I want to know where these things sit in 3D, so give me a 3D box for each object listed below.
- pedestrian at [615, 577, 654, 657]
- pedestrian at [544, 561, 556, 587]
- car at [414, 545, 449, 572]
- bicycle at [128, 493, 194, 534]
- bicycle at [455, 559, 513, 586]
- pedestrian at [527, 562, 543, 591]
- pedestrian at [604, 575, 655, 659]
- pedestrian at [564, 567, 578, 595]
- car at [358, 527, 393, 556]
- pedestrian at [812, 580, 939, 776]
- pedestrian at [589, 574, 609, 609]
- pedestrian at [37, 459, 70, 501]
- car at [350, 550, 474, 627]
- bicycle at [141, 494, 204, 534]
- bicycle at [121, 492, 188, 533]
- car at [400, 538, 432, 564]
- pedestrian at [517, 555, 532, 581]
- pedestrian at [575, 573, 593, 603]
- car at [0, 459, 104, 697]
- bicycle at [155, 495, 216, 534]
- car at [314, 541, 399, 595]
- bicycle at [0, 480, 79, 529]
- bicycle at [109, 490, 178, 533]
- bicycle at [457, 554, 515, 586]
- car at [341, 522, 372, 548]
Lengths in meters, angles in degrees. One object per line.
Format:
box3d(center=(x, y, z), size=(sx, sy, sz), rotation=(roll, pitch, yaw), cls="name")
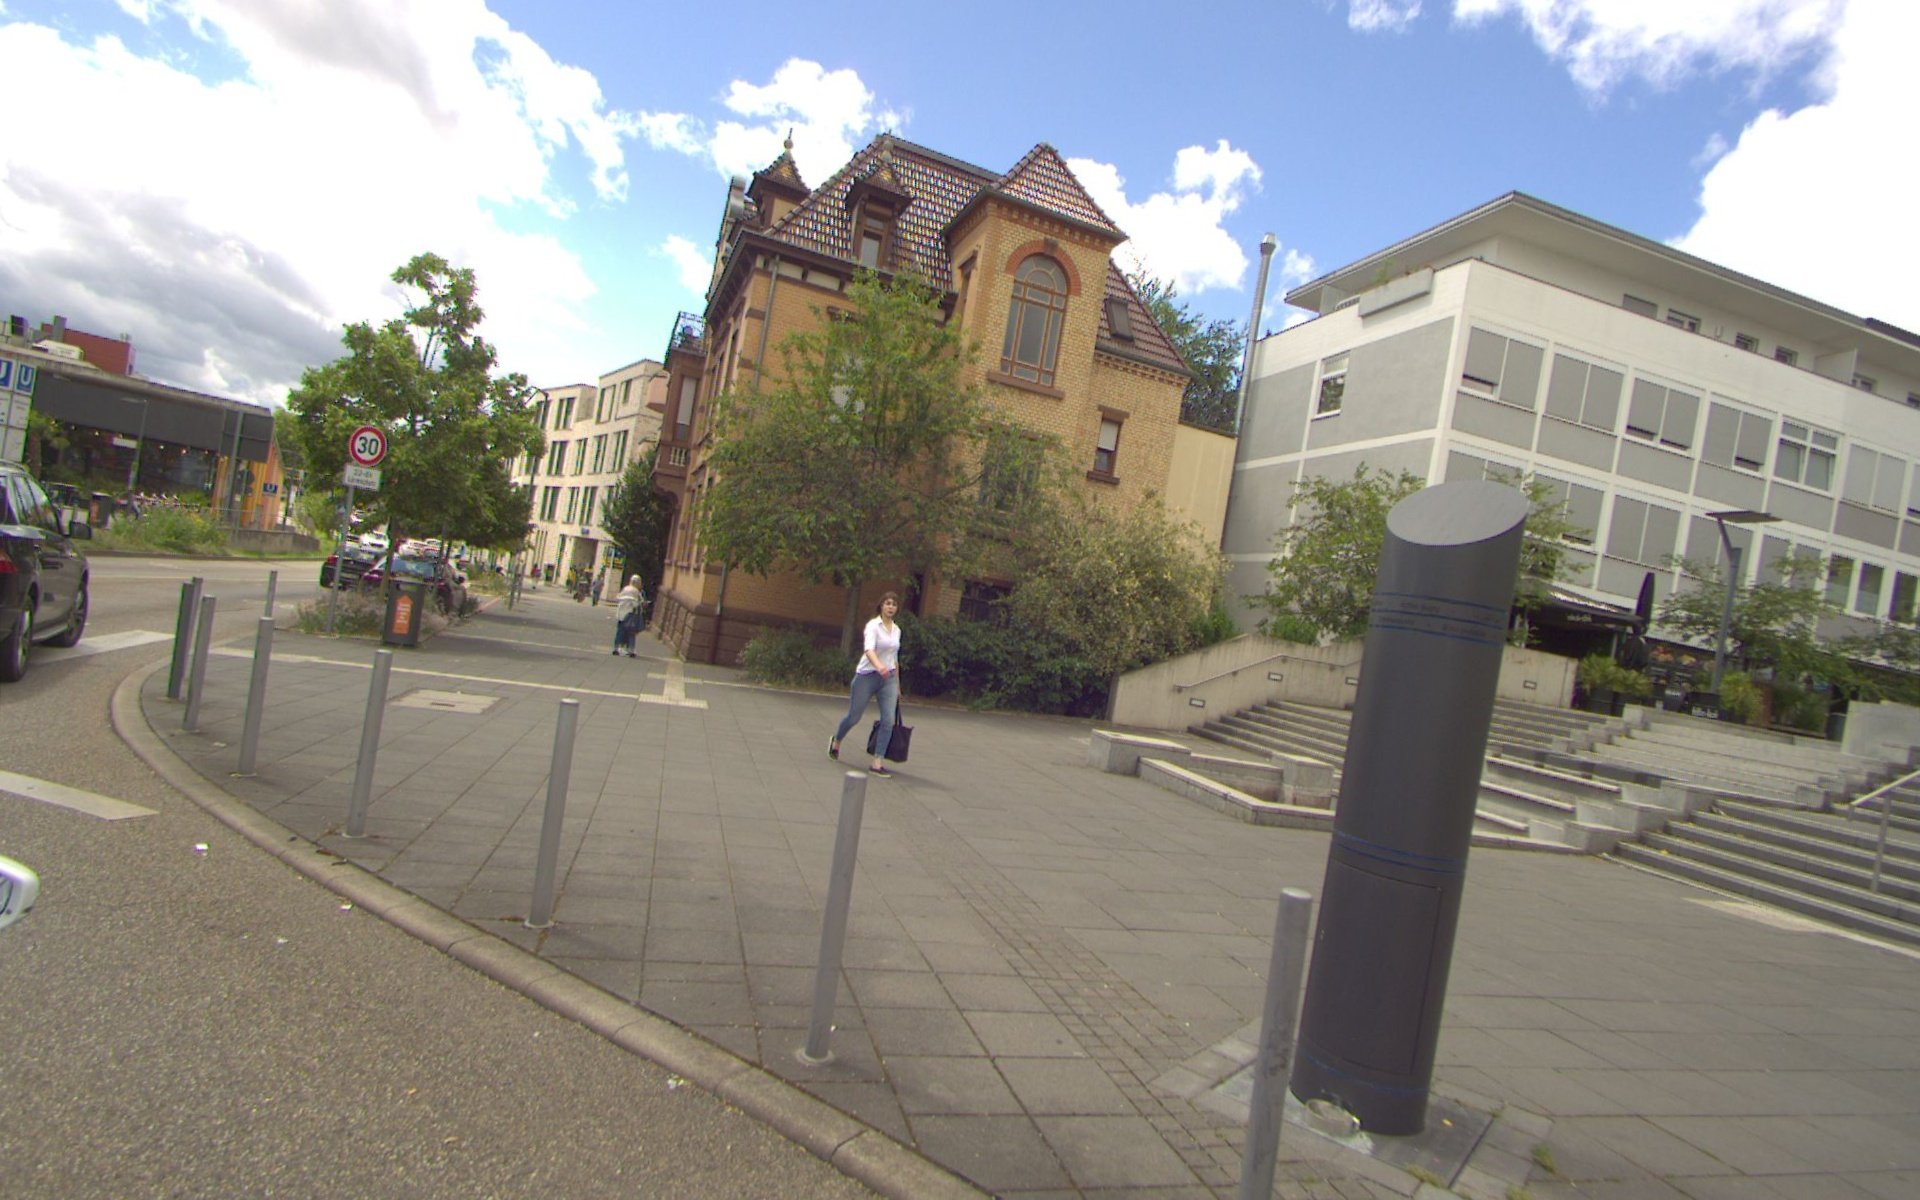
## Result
box3d(center=(-7.017, 0.357, 21.685), size=(0.501, 1.648, 0.505), rotation=(8, 0, -36), cls="pedestrian")
box3d(center=(-28.009, -1.768, 68.736), size=(0.554, 1.702, 0.565), rotation=(9, 0, -25), cls="pedestrian")
box3d(center=(-33.907, -2.663, 64.502), size=(1.598, 1.399, 3.803), rotation=(9, -1, -32), cls="car")
box3d(center=(-27.501, -2.977, 34.662), size=(1.553, 1.104, 0.575), rotation=(9, -1, -22), cls="bicycle")
box3d(center=(-28.757, -1.658, 60.756), size=(3.035, 1.160, 0.705), rotation=(9, -1, -27), cls="bicycle")
box3d(center=(-25.786, -1.424, 61.057), size=(0.657, 1.702, 0.565), rotation=(9, 0, -25), cls="pedestrian")
box3d(center=(-6.894, 0.351, 20.982), size=(0.668, 1.648, 0.552), rotation=(7, -1, 40), cls="pedestrian")
box3d(center=(-24.876, -1.196, 64.311), size=(0.554, 1.711, 0.635), rotation=(9, 0, -25), cls="pedestrian")
box3d(center=(-42.951, -4.306, 73.917), size=(1.832, 1.625, 3.964), rotation=(12, -3, -33), cls="car")
box3d(center=(-0.830, 0.756, 9.804), size=(0.702, 1.767, 0.768), rotation=(8, 0, -39), cls="pedestrian")
box3d(center=(-18.244, -0.447, 50.828), size=(0.627, 1.645, 0.694), rotation=(9, 0, -29), cls="pedestrian")
box3d(center=(-34.959, -4.609, 38.790), size=(0.574, 1.481, 0.614), rotation=(8, 0, -14), cls="pedestrian")
box3d(center=(-12.825, -0.279, 23.825), size=(1.837, 1.422, 4.355), rotation=(8, -2, -21), cls="car")
box3d(center=(-27.894, -3.042, 35.654), size=(1.553, 1.104, 0.575), rotation=(9, -1, -22), cls="bicycle")
box3d(center=(-27.254, -2.951, 34.053), size=(1.553, 1.081, 0.536), rotation=(9, -1, -22), cls="bicycle")
box3d(center=(-41.582, -3.750, 76.906), size=(1.828, 1.540, 3.972), rotation=(12, -3, -27), cls="car")
box3d(center=(-30.561, -2.264, 70.563), size=(0.557, 1.702, 0.561), rotation=(9, 0, -44), cls="pedestrian")
box3d(center=(-20.858, -0.669, 55.800), size=(0.706, 1.581, 0.564), rotation=(9, 0, -29), cls="pedestrian")
box3d(center=(-9.021, -0.407, 8.605), size=(2.017, 1.747, 4.391), rotation=(8, -1, -35), cls="car")
box3d(center=(-28.124, -3.093, 36.559), size=(1.553, 1.104, 0.575), rotation=(9, -1, -22), cls="bicycle")
box3d(center=(-19.081, -1.019, 31.957), size=(1.593, 1.399, 3.816), rotation=(9, -1, -23), cls="car")
box3d(center=(-24.696, -2.543, 26.864), size=(1.593, 1.009, 0.498), rotation=(9, -1, -16), cls="bicycle")
box3d(center=(-27.028, -2.932, 33.318), size=(1.553, 1.104, 0.575), rotation=(9, -1, -22), cls="bicycle")
box3d(center=(-29.320, -1.825, 62.253), size=(3.035, 1.503, 0.705), rotation=(9, -1, -27), cls="bicycle")
box3d(center=(-53.702, -5.782, 89.483), size=(1.833, 1.878, 4.454), rotation=(12, -3, -34), cls="car")
